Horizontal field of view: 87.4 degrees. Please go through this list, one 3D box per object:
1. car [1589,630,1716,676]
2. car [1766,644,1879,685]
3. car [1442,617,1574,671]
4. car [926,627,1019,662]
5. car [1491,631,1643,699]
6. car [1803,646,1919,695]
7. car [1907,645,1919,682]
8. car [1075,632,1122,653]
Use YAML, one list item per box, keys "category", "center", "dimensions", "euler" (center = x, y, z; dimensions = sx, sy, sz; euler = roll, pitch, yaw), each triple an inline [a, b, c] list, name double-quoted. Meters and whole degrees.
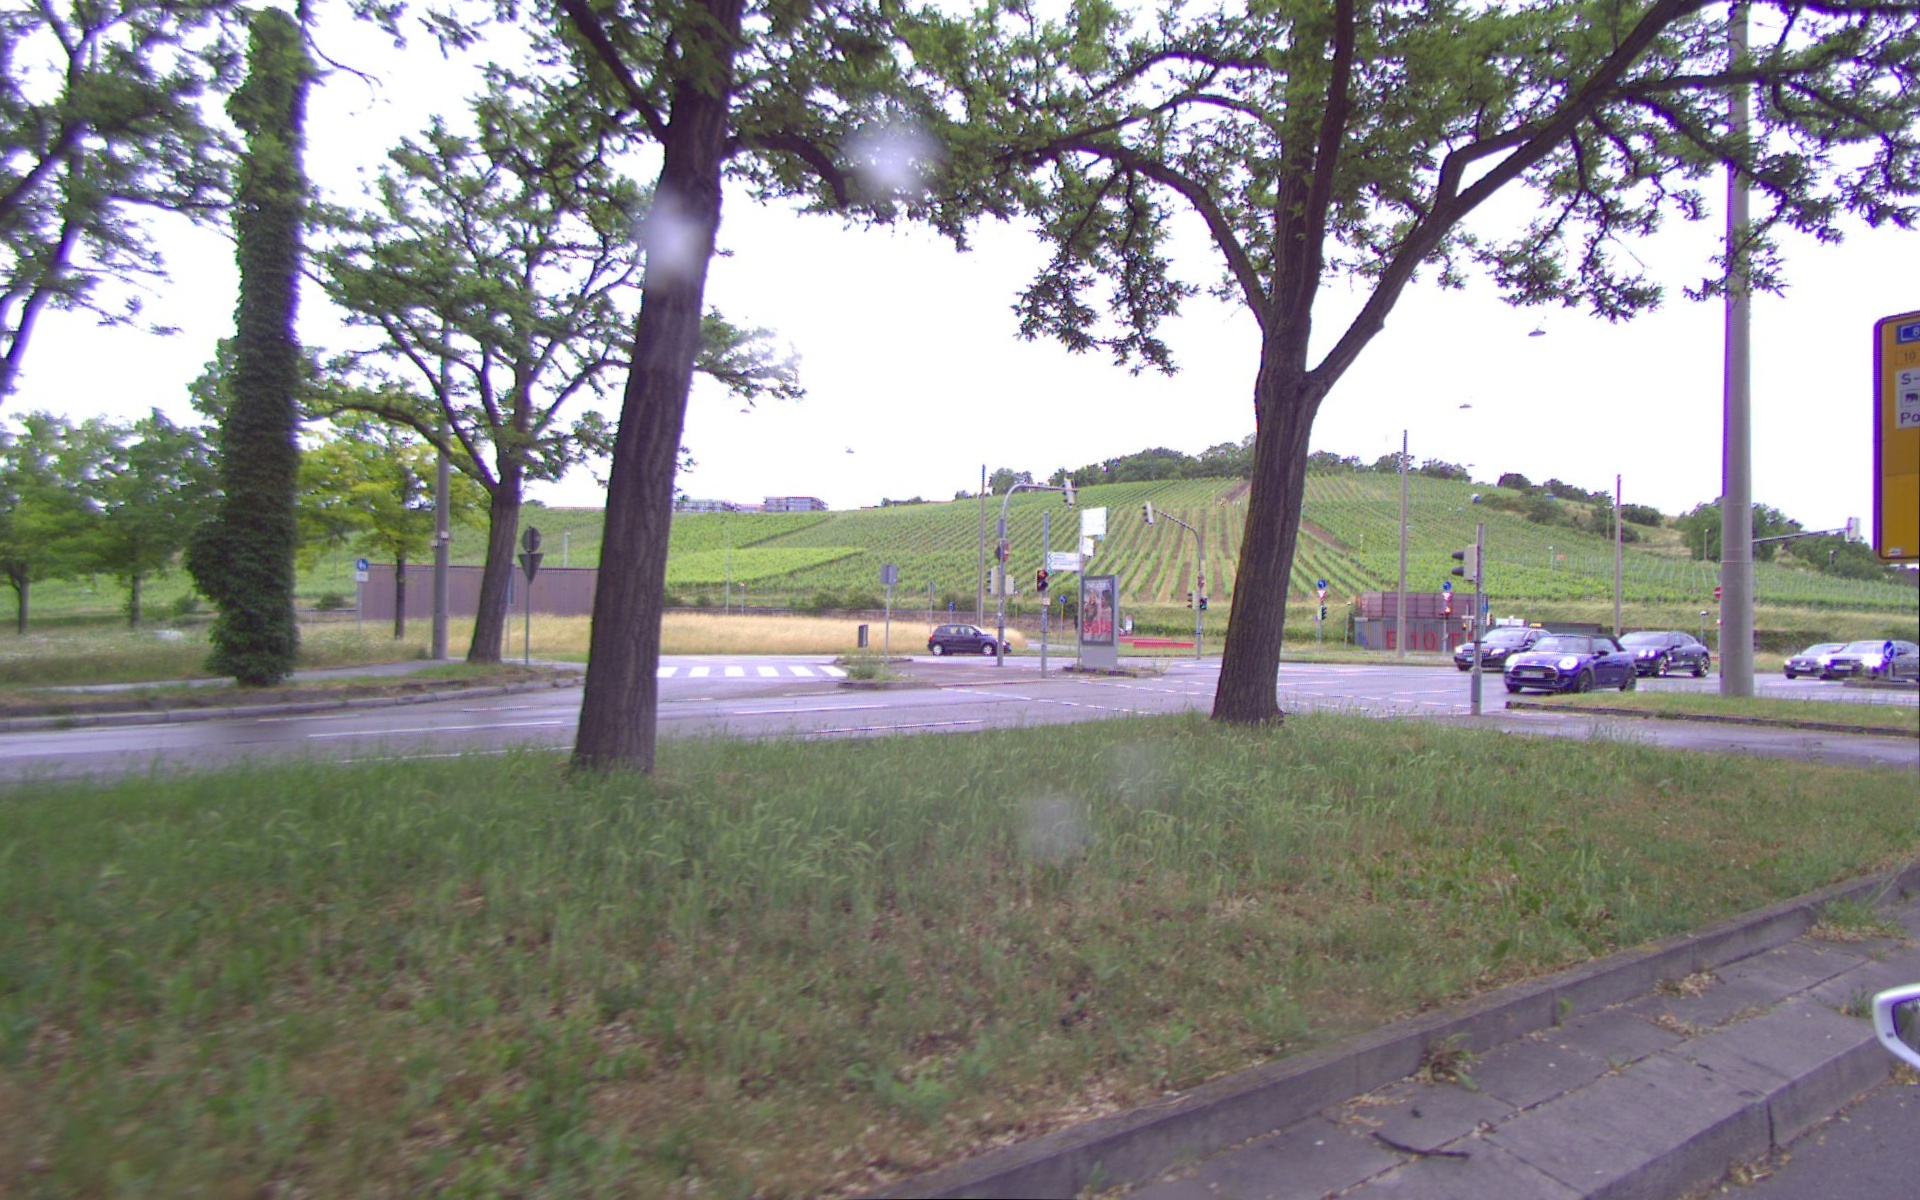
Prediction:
- category: "car"
  center: [22.539, 1.685, 32.638]
  dimensions: [4.618, 1.381, 1.814]
  euler: [1, -1, -33]
- category: "car"
  center: [34.329, 2.517, 39.973]
  dimensions: [4.607, 1.492, 1.818]
  euler: [1, -1, -27]
- category: "car"
  center: [18.444, 1.489, 33.768]
  dimensions: [4.514, 1.645, 1.820]
  euler: [3, 0, -31]
- category: "car"
  center: [0.602, 2.043, 46.527]
  dimensions: [3.919, 1.306, 1.800]
  euler: [3, 0, 15]
- category: "car"
  center: [14.578, 1.559, 24.084]
  dimensions: [3.846, 1.414, 1.773]
  euler: [4, -1, -37]
- category: "car"
  center: [31.417, 2.395, 34.669]
  dimensions: [4.831, 1.509, 1.894]
  euler: [1, -1, -28]
- category: "car"
  center: [43.951, 2.892, 43.665]
  dimensions: [4.122, 1.596, 1.996]
  euler: [3, 0, -12]
- category: "car"
  center: [12.031, 3.651, 87.089]
  dimensions: [3.694, 1.538, 1.861]
  euler: [3, 0, 20]
